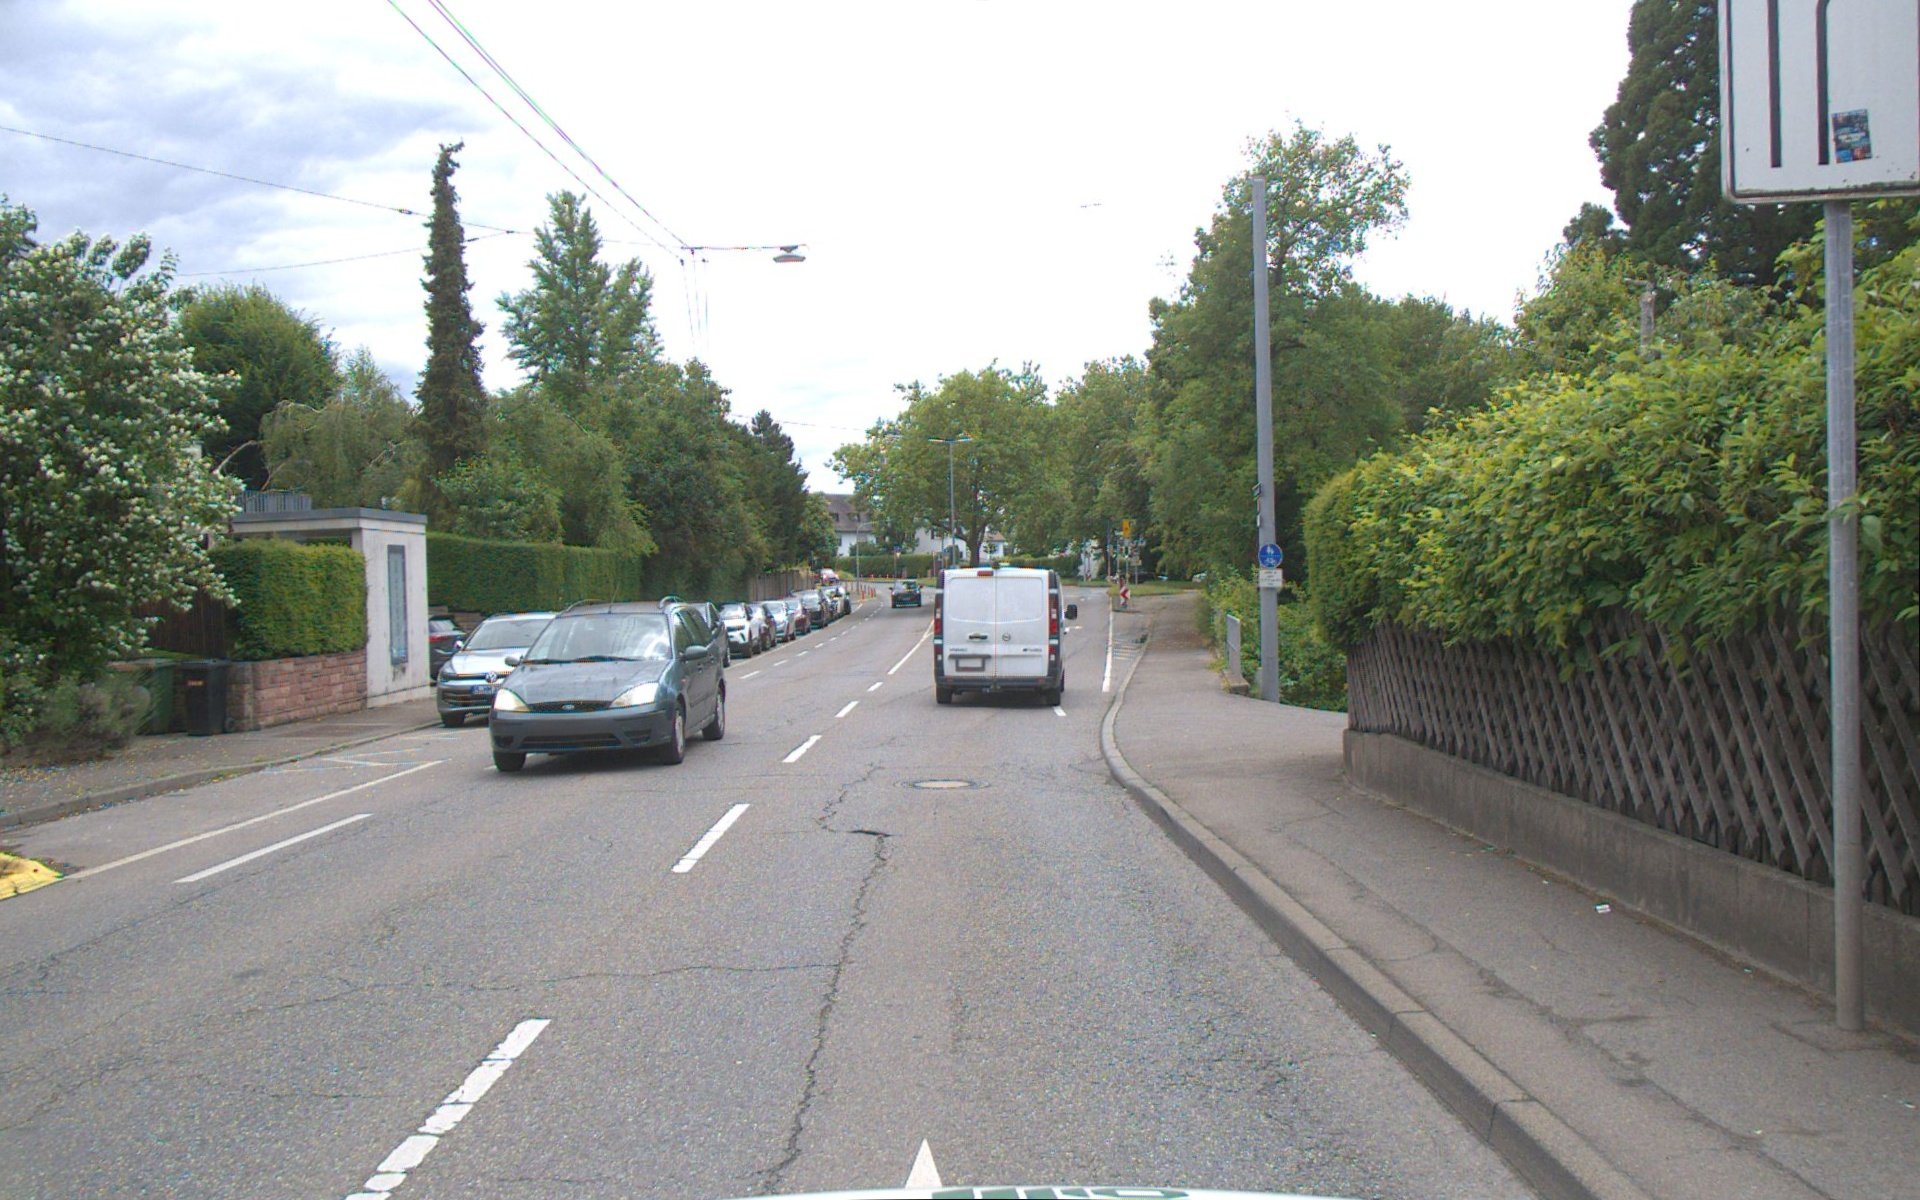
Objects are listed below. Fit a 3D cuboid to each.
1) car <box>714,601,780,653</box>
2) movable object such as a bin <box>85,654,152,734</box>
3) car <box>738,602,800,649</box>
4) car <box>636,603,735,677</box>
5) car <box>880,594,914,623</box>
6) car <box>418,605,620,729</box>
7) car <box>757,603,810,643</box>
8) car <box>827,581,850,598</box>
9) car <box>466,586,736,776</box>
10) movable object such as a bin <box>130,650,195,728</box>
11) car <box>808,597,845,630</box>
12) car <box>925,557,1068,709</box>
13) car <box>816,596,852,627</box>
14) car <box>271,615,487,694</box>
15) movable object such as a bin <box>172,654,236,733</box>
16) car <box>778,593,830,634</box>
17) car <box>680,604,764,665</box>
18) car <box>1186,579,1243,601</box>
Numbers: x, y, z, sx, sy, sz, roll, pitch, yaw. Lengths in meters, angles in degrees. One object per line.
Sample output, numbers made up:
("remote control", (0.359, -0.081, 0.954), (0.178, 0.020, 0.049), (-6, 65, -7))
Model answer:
("car", (-6.690, 0.820, 52.179), (1.636, 1.504, 3.909), (-2, 0, -2))
("movable object such as a bin", (-10.313, 1.145, 20.278), (0.438, 0.958, 0.617), (0, -1, 11))
("car", (-6.716, 0.861, 58.503), (1.635, 1.514, 4.430), (-2, 0, -1))
("car", (-6.377, 0.908, 38.835), (1.645, 1.583, 3.970), (-3, -1, -1))
("car", (-3.873, 0.525, 102.280), (1.804, 1.676, 4.214), (-1, 0, 2))
("car", (-6.217, 0.881, 23.824), (1.773, 1.480, 4.412), (-4, 0, -2))
("car", (-6.925, 0.871, 65.303), (1.743, 1.463, 3.999), (-2, 0, -2))
("car", (-11.962, -1.032, 162.702), (1.957, 1.615, 3.997), (-2, 0, 0))
("car", (-3.384, 0.693, 16.433), (1.698, 1.580, 4.447), (-1, 0, 0))
("movable object such as a bin", (-10.077, 1.119, 20.908), (0.527, 0.958, 0.509), (0, -1, 12))
("car", (-7.132, 0.720, 88.709), (1.638, 1.620, 4.096), (-3, 0, 0))
("car", (0.654, 0.464, 25.516), (1.964, 2.073, 5.012), (1, 0, 3))
("car", (-7.155, 0.631, 94.053), (1.850, 1.653, 4.429), (-1, 0, -2))
("car", (-11.363, 1.060, 32.455), (3.512, 1.415, 1.851), (-1, 0, 8))
("movable object such as a bin", (-9.417, 1.158, 20.609), (0.527, 0.958, 0.509), (0, -1, 12))
("car", (-6.795, 0.584, 72.289), (1.953, 1.672, 4.464), (-2, 0, -2))
("car", (-6.661, 0.939, 46.672), (1.851, 1.520, 4.025), (-3, 0, -2))
("car", (21.740, -0.876, 141.159), (4.679, 1.800, 1.980), (-1, 1, -30))
